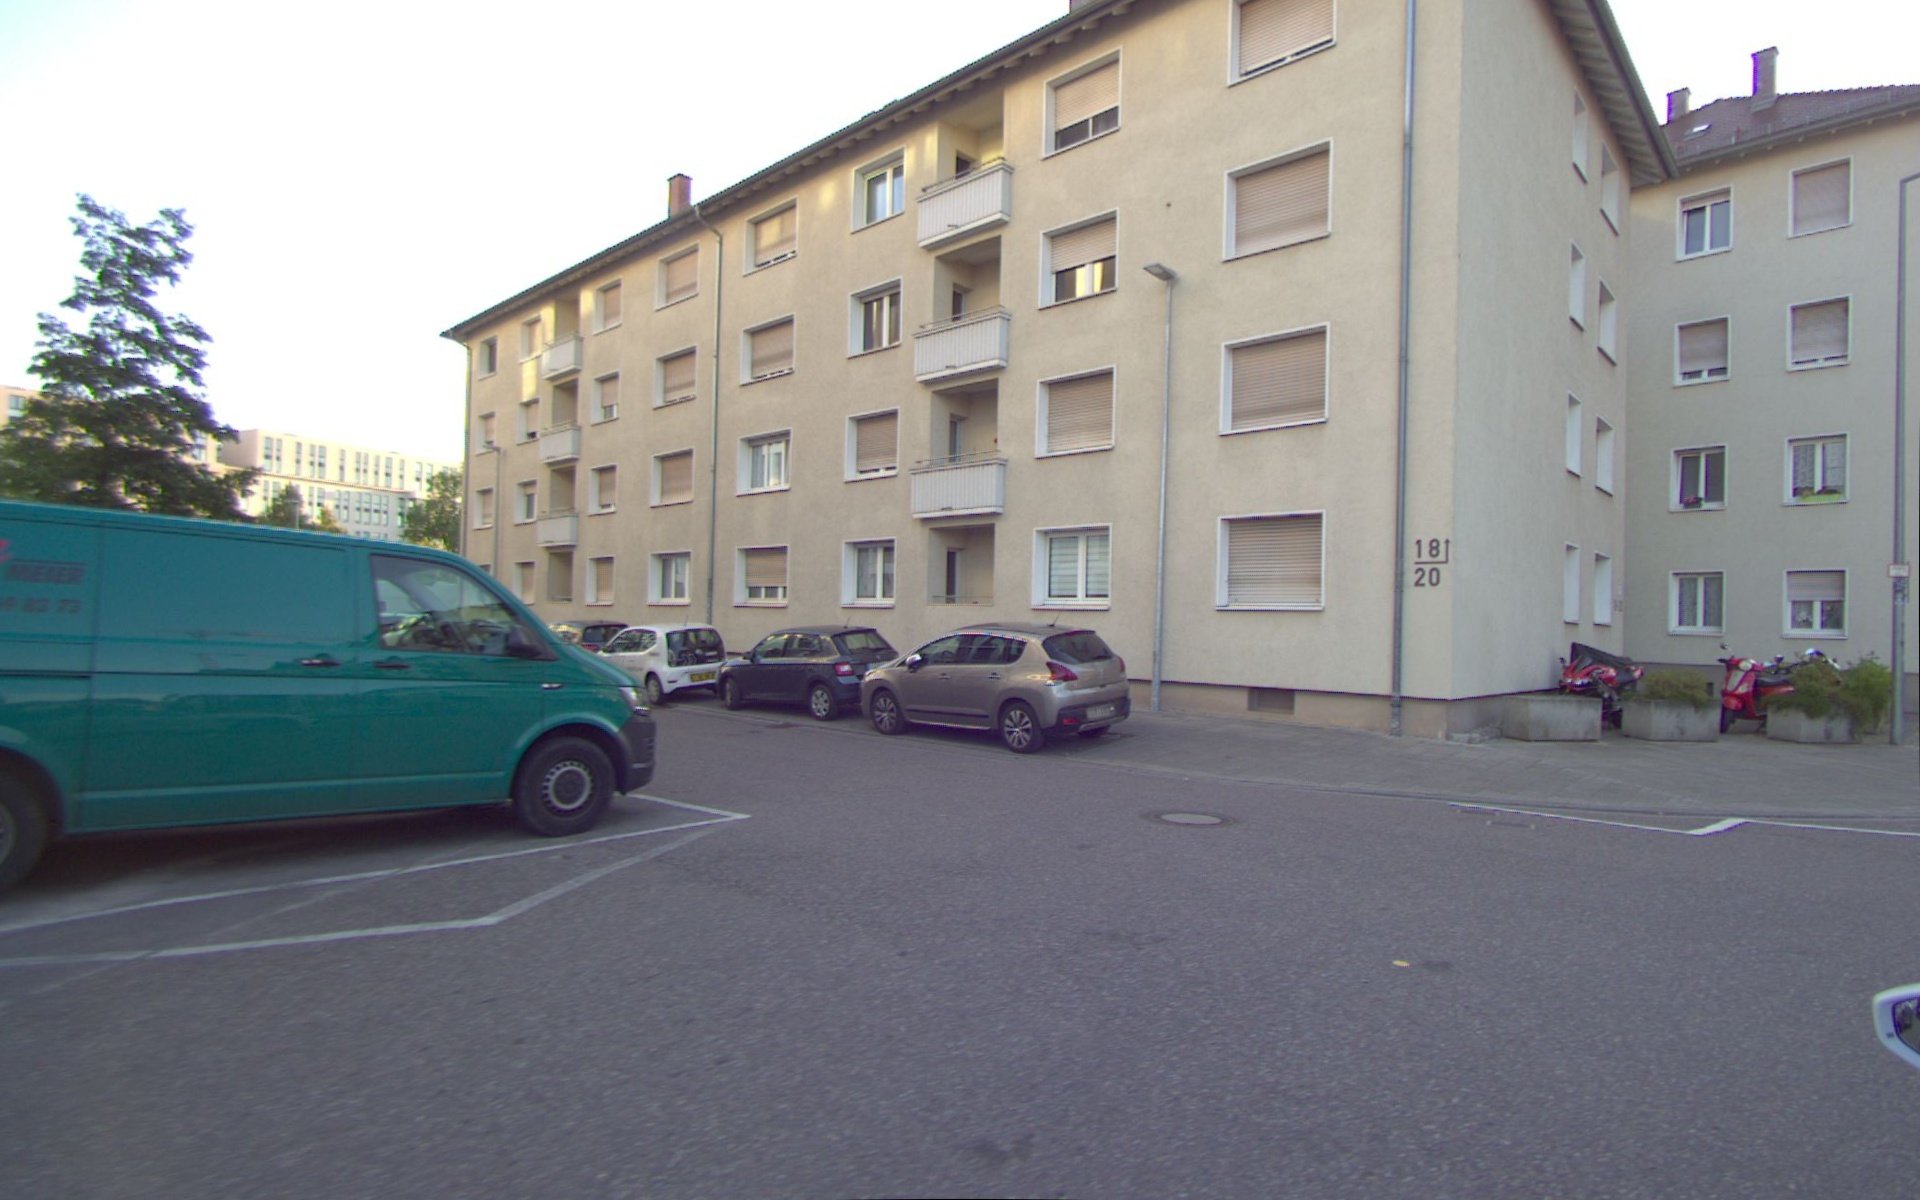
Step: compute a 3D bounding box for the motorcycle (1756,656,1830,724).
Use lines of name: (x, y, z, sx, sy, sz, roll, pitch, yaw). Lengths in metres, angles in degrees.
motorcycle: (14.582, 1.552, 17.561, 2.019, 1.093, 0.676, 3, -2, -41)

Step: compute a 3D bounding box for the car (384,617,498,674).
car: (-15.779, 1.319, 30.461, 3.893, 1.504, 1.869, 0, 2, 44)

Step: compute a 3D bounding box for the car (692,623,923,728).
car: (-2.774, 1.239, 17.893, 3.958, 1.521, 1.872, 0, 2, 39)

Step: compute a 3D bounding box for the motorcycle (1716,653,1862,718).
motorcycle: (15.912, 1.614, 19.347, 0.554, 1.120, 2.113, 2, -2, -30)

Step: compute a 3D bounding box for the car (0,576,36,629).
car: (-49.435, -0.035, 49.472, 1.709, 2.568, 5.491, 1, -4, 41)

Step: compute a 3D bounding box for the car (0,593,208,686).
car: (-17.401, 0.744, 19.324, 1.711, 1.633, 4.439, 0, -4, 44)

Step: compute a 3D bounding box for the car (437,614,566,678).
car: (-12.577, 1.189, 27.442, 3.893, 1.504, 1.869, 0, 2, 44)

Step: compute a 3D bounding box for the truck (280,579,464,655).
truck: (-23.762, 0.604, 40.813, 2.306, 2.759, 5.965, 0, 2, 43)

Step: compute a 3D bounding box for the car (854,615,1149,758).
car: (0.493, 1.093, 14.366, 3.964, 1.640, 1.869, 0, 2, 44)

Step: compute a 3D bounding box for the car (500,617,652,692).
car: (-9.166, 1.219, 23.843, 3.893, 1.504, 1.869, 0, 2, 44)

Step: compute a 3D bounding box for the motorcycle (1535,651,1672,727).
motorcycle: (9.978, 1.372, 15.572, 2.050, 1.093, 0.722, 2, -1, -22)

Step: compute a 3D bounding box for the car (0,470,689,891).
car: (-4.292, 0.460, 6.377, 1.779, 2.005, 4.662, 0, -3, 44)

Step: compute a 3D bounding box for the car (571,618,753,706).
car: (-6.167, 1.188, 20.580, 3.893, 1.504, 1.869, 0, 2, 44)

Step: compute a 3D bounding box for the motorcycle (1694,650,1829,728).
motorcycle: (12.806, 1.412, 16.046, 2.002, 1.176, 0.688, 2, -1, -18)

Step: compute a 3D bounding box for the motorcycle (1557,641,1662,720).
motorcycle: (11.287, 1.383, 17.431, 2.058, 1.281, 0.719, 3, -2, -32)
